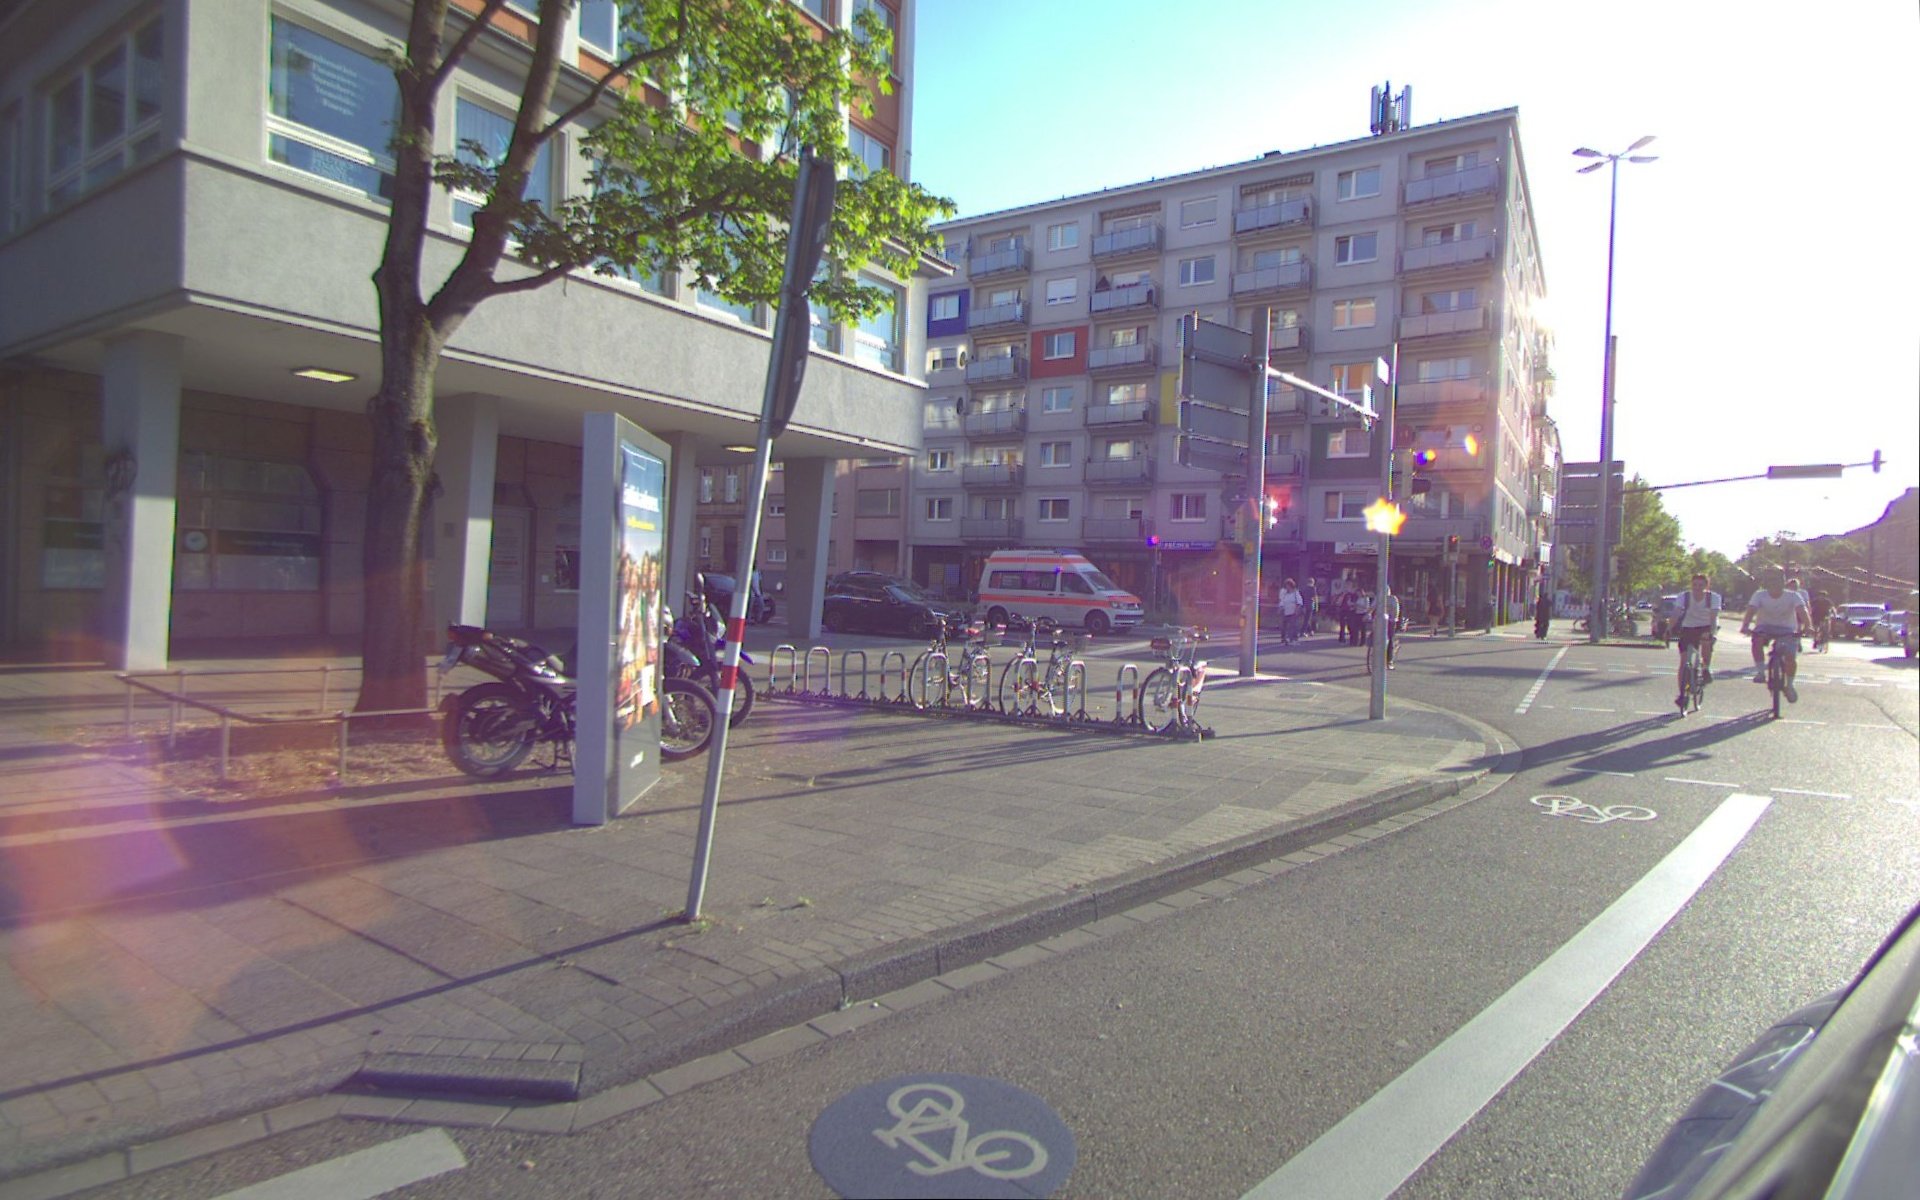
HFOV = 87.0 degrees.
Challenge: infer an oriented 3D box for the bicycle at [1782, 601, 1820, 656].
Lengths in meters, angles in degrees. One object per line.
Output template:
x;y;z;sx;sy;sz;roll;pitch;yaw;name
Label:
18.754;0.617;22.549;0.528;1.173;1.820;1;0;43;bicycle

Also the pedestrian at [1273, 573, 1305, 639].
8.838;0.163;27.171;0.566;1.723;0.802;2;1;34;pedestrian

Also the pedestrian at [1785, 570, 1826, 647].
18.798;0.185;22.504;0.638;1.669;0.830;1;0;44;pedestrian

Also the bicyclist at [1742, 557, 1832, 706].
10.713;0.378;13.127;0.825;1.830;1.042;2;1;40;bicyclist

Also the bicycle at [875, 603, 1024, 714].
-0.070;0.646;11.953;0.642;1.172;2.097;2;0;34;bicycle

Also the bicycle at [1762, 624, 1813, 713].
10.818;0.860;13.235;0.477;1.041;1.953;1;0;40;bicycle

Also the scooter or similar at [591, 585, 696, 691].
-3.982;0.464;12.762;1.161;1.270;0.416;1;1;-38;scooter or similar

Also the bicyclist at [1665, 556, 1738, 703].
9.657;0.361;13.169;0.673;1.830;0.979;2;1;40;bicyclist

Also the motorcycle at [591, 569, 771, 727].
-2.878;0.424;10.299;2.042;1.424;0.749;2;1;42;motorcycle

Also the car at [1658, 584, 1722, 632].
32.202;0.338;44.768;1.929;1.957;4.776;2;1;32;car

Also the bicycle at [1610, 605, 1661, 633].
31.536;0.865;47.253;1.859;1.139;0.562;5;2;30;bicycle

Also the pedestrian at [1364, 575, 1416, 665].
8.059;0.356;18.957;0.674;1.609;0.751;2;3;40;pedestrian

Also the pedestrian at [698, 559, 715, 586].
-15.346;-1.642;61.279;0.722;1.596;0.703;2;1;31;pedestrian

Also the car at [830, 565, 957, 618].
-2.238;-0.303;33.691;4.055;1.590;1.578;3;1;33;car

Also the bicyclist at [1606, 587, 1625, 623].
33.752;0.260;52.086;0.740;1.830;1.368;2;1;35;bicyclist

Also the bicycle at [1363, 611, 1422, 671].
8.182;0.745;19.108;0.520;0.992;1.824;3;3;39;bicycle

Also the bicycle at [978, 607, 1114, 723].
0.996;0.677;11.213;0.642;1.141;1.850;2;0;34;bicycle

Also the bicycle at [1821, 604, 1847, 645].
26.261;0.720;30.426;0.528;1.173;1.823;1;0;39;bicycle

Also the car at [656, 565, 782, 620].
-7.483;-0.240;31.357;3.751;1.528;1.734;3;1;35;car

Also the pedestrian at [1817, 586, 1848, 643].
26.240;0.420;30.442;0.676;1.669;0.888;1;0;40;pedestrian

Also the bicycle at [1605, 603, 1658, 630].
28.964;0.708;43.682;1.859;1.074;0.600;3;1;31;bicycle

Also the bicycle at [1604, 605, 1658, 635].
29.291;0.853;44.204;1.859;1.139;0.601;5;2;30;bicycle

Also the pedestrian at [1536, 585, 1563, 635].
20.990;0.340;36.032;0.660;1.726;1.057;2;1;38;pedestrian

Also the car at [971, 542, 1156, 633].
3.044;-0.441;30.378;5.230;2.513;1.903;2;1;34;car

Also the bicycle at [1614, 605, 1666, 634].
31.050;0.900;46.219;1.859;1.139;0.562;5;2;30;bicycle

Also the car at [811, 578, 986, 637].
-1.729;0.164;27.622;4.647;1.357;1.816;2;1;35;car

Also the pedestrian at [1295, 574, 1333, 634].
10.597;0.110;30.262;0.780;1.723;1.014;2;1;34;pedestrian

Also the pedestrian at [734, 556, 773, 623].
-5.660;-0.292;27.750;0.815;1.778;0.631;2;1;36;pedestrian

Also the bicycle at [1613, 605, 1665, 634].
31.335;0.880;46.710;1.859;1.139;0.562;5;2;30;bicycle

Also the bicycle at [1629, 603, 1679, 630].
33.788;0.804;49.287;1.859;1.139;0.562;5;2;30;bicycle

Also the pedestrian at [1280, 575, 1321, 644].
8.615;0.224;25.617;0.725;1.683;0.894;2;1;34;pedestrian

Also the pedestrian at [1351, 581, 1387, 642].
10.405;0.283;25.732;0.679;1.518;0.737;2;1;34;pedestrian

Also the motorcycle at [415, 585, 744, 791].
-2.656;0.548;7.331;0.665;1.258;2.169;2;1;39;motorcycle

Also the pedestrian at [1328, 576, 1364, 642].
10.209;0.231;26.741;0.679;1.683;0.737;2;1;34;pedestrian

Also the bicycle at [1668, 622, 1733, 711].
9.661;0.832;13.183;0.574;1.041;1.830;1;0;40;bicycle

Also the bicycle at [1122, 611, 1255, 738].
2.349;0.703;10.249;0.642;1.141;1.850;2;0;34;bicycle

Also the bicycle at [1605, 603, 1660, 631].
28.662;0.710;43.159;1.859;1.074;0.600;3;1;31;bicycle

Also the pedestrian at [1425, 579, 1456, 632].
14.925;0.164;31.452;0.680;1.609;0.736;2;1;38;pedestrian

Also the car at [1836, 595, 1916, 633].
44.703;0.655;49.489;1.941;1.734;4.798;0;0;31;car

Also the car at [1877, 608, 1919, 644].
40.535;1.064;42.662;1.828;1.418;4.534;0;0;30;car

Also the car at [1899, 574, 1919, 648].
26.867;0.331;26.817;1.907;2.015;4.891;2;1;32;car

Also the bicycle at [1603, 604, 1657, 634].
29.575;0.829;44.716;1.859;1.139;0.562;5;2;30;bicycle
